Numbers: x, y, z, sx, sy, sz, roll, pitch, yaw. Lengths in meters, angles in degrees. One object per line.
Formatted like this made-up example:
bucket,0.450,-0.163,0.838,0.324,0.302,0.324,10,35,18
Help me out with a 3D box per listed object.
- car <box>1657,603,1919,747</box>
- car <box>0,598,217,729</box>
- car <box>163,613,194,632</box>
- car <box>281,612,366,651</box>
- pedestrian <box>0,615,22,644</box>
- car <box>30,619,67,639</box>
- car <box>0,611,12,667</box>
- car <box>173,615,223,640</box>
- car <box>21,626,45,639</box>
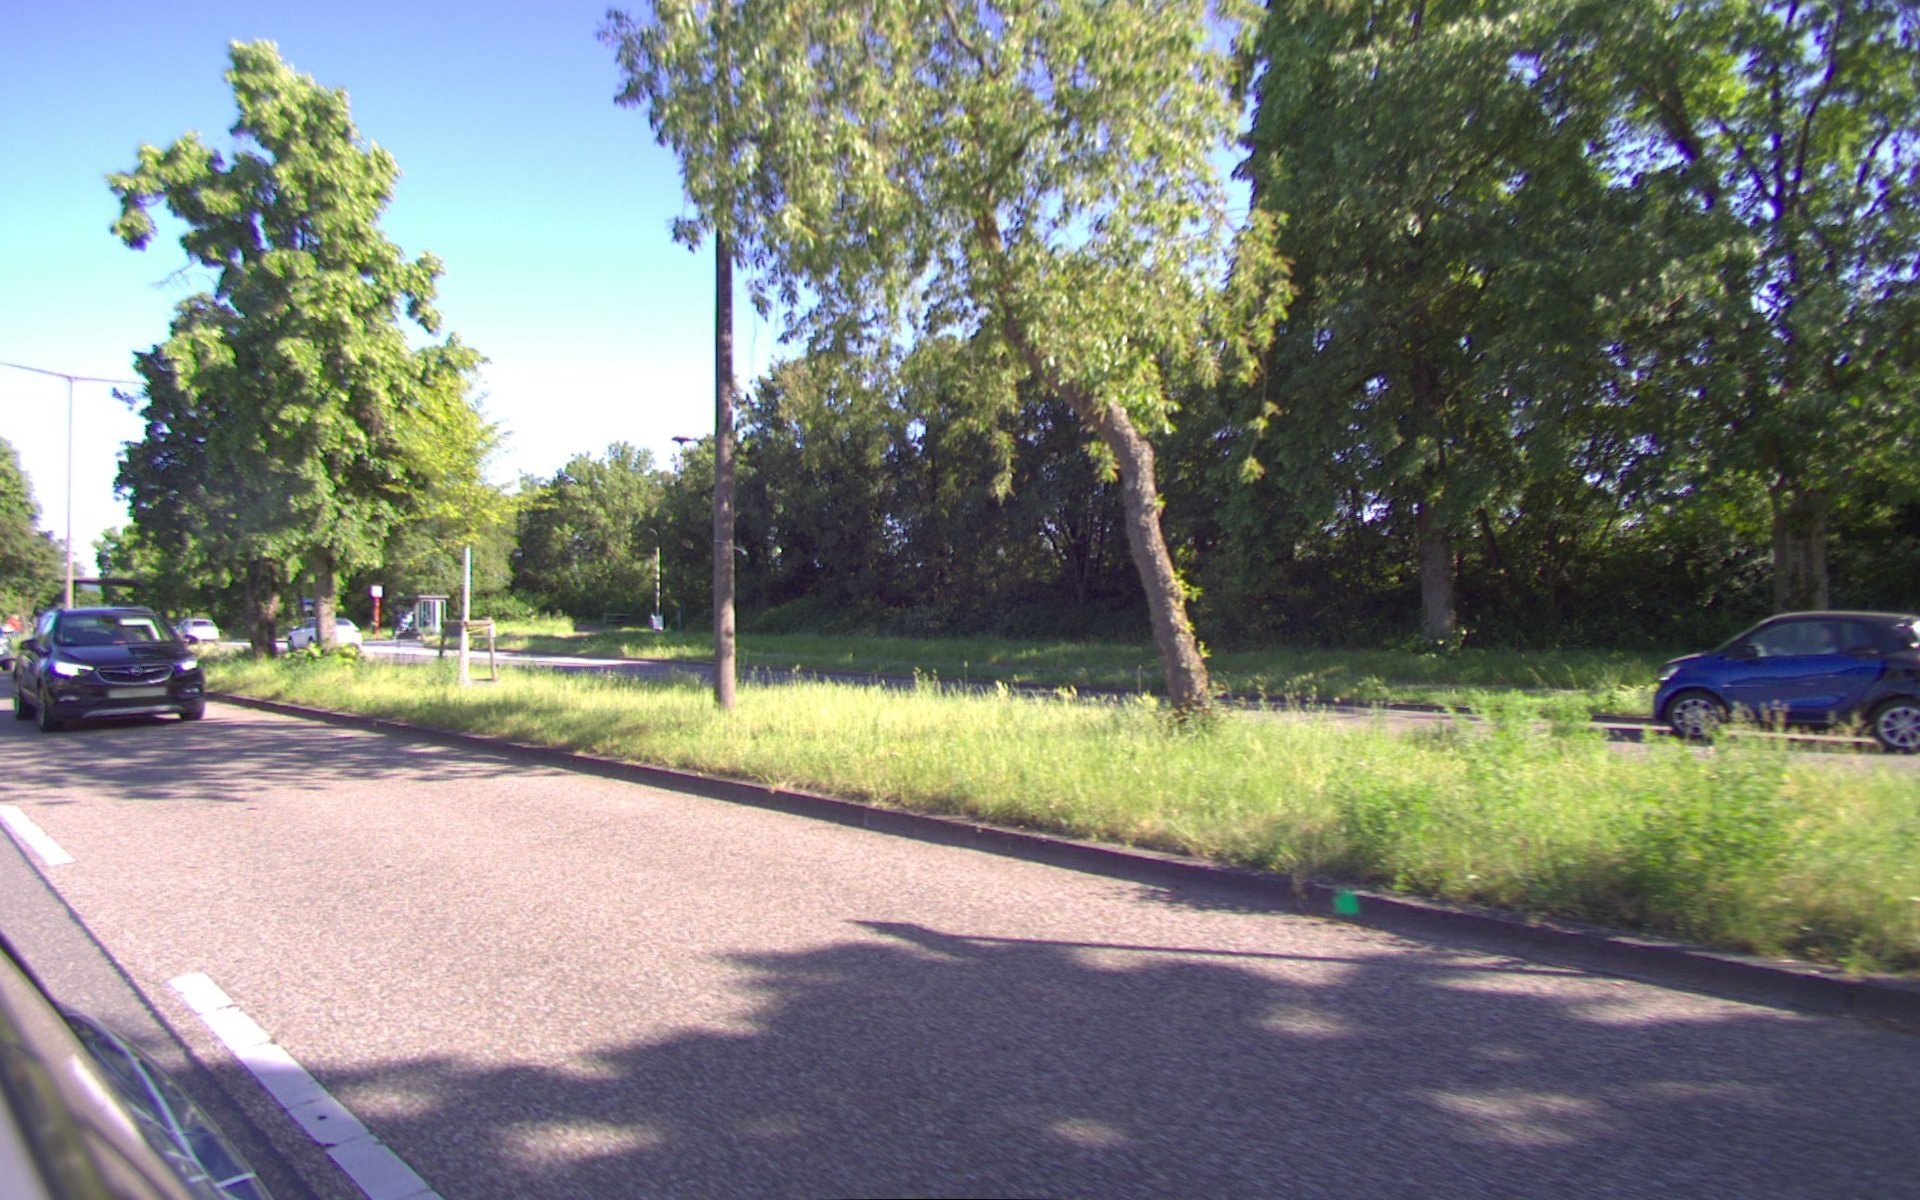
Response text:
car,10.080,0.837,11.827,3.014,1.517,1.697,-1,-3,41
car,-12.518,0.828,14.769,4.512,1.627,1.788,-1,-1,41
car,-59.651,1.695,77.216,1.563,1.425,3.134,0,-1,-44
car,-28.810,1.443,45.737,4.581,1.602,1.821,-1,-6,40
pedestrian,-56.657,1.729,60.410,0.621,1.709,0.946,-1,-1,-18
car,-69.805,2.241,77.483,4.063,1.483,1.694,-1,-2,42
car,-29.431,1.192,29.829,4.645,1.574,1.800,-2,-1,42
car,-46.324,1.685,61.483,4.063,1.483,1.694,-1,-2,42
car,-111.679,3.946,121.861,4.215,1.511,1.786,-1,-1,43
